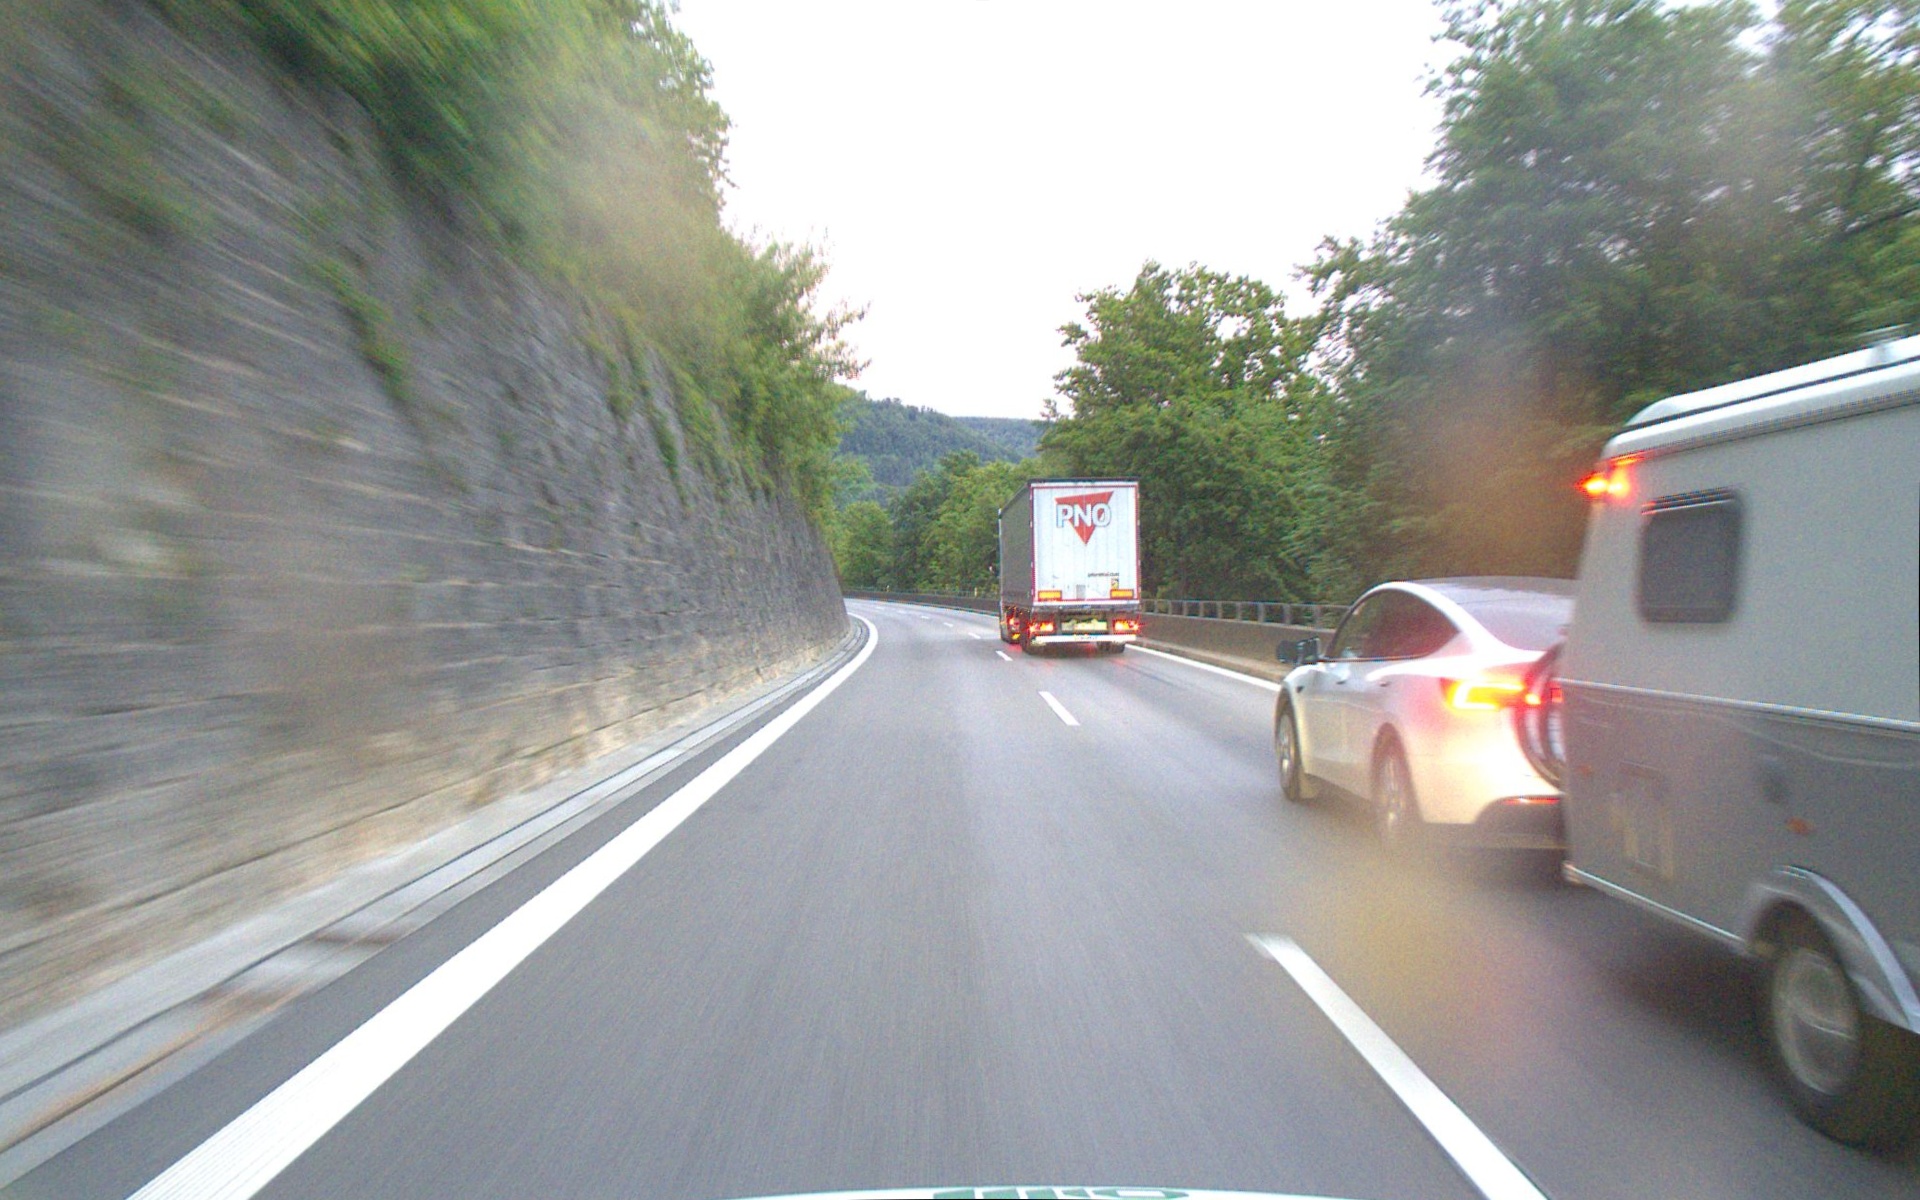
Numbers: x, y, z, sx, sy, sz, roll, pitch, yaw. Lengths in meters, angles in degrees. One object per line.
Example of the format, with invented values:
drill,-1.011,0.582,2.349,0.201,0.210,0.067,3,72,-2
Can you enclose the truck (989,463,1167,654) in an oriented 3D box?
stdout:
truck,2.764,-0.910,44.964,3.228,4.246,16.497,0,0,-2

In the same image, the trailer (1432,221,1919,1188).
trailer,3.403,0.265,5.326,2.013,2.416,5.937,1,0,0

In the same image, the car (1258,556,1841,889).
car,3.364,0.607,10.628,1.953,1.643,4.863,0,0,-1
